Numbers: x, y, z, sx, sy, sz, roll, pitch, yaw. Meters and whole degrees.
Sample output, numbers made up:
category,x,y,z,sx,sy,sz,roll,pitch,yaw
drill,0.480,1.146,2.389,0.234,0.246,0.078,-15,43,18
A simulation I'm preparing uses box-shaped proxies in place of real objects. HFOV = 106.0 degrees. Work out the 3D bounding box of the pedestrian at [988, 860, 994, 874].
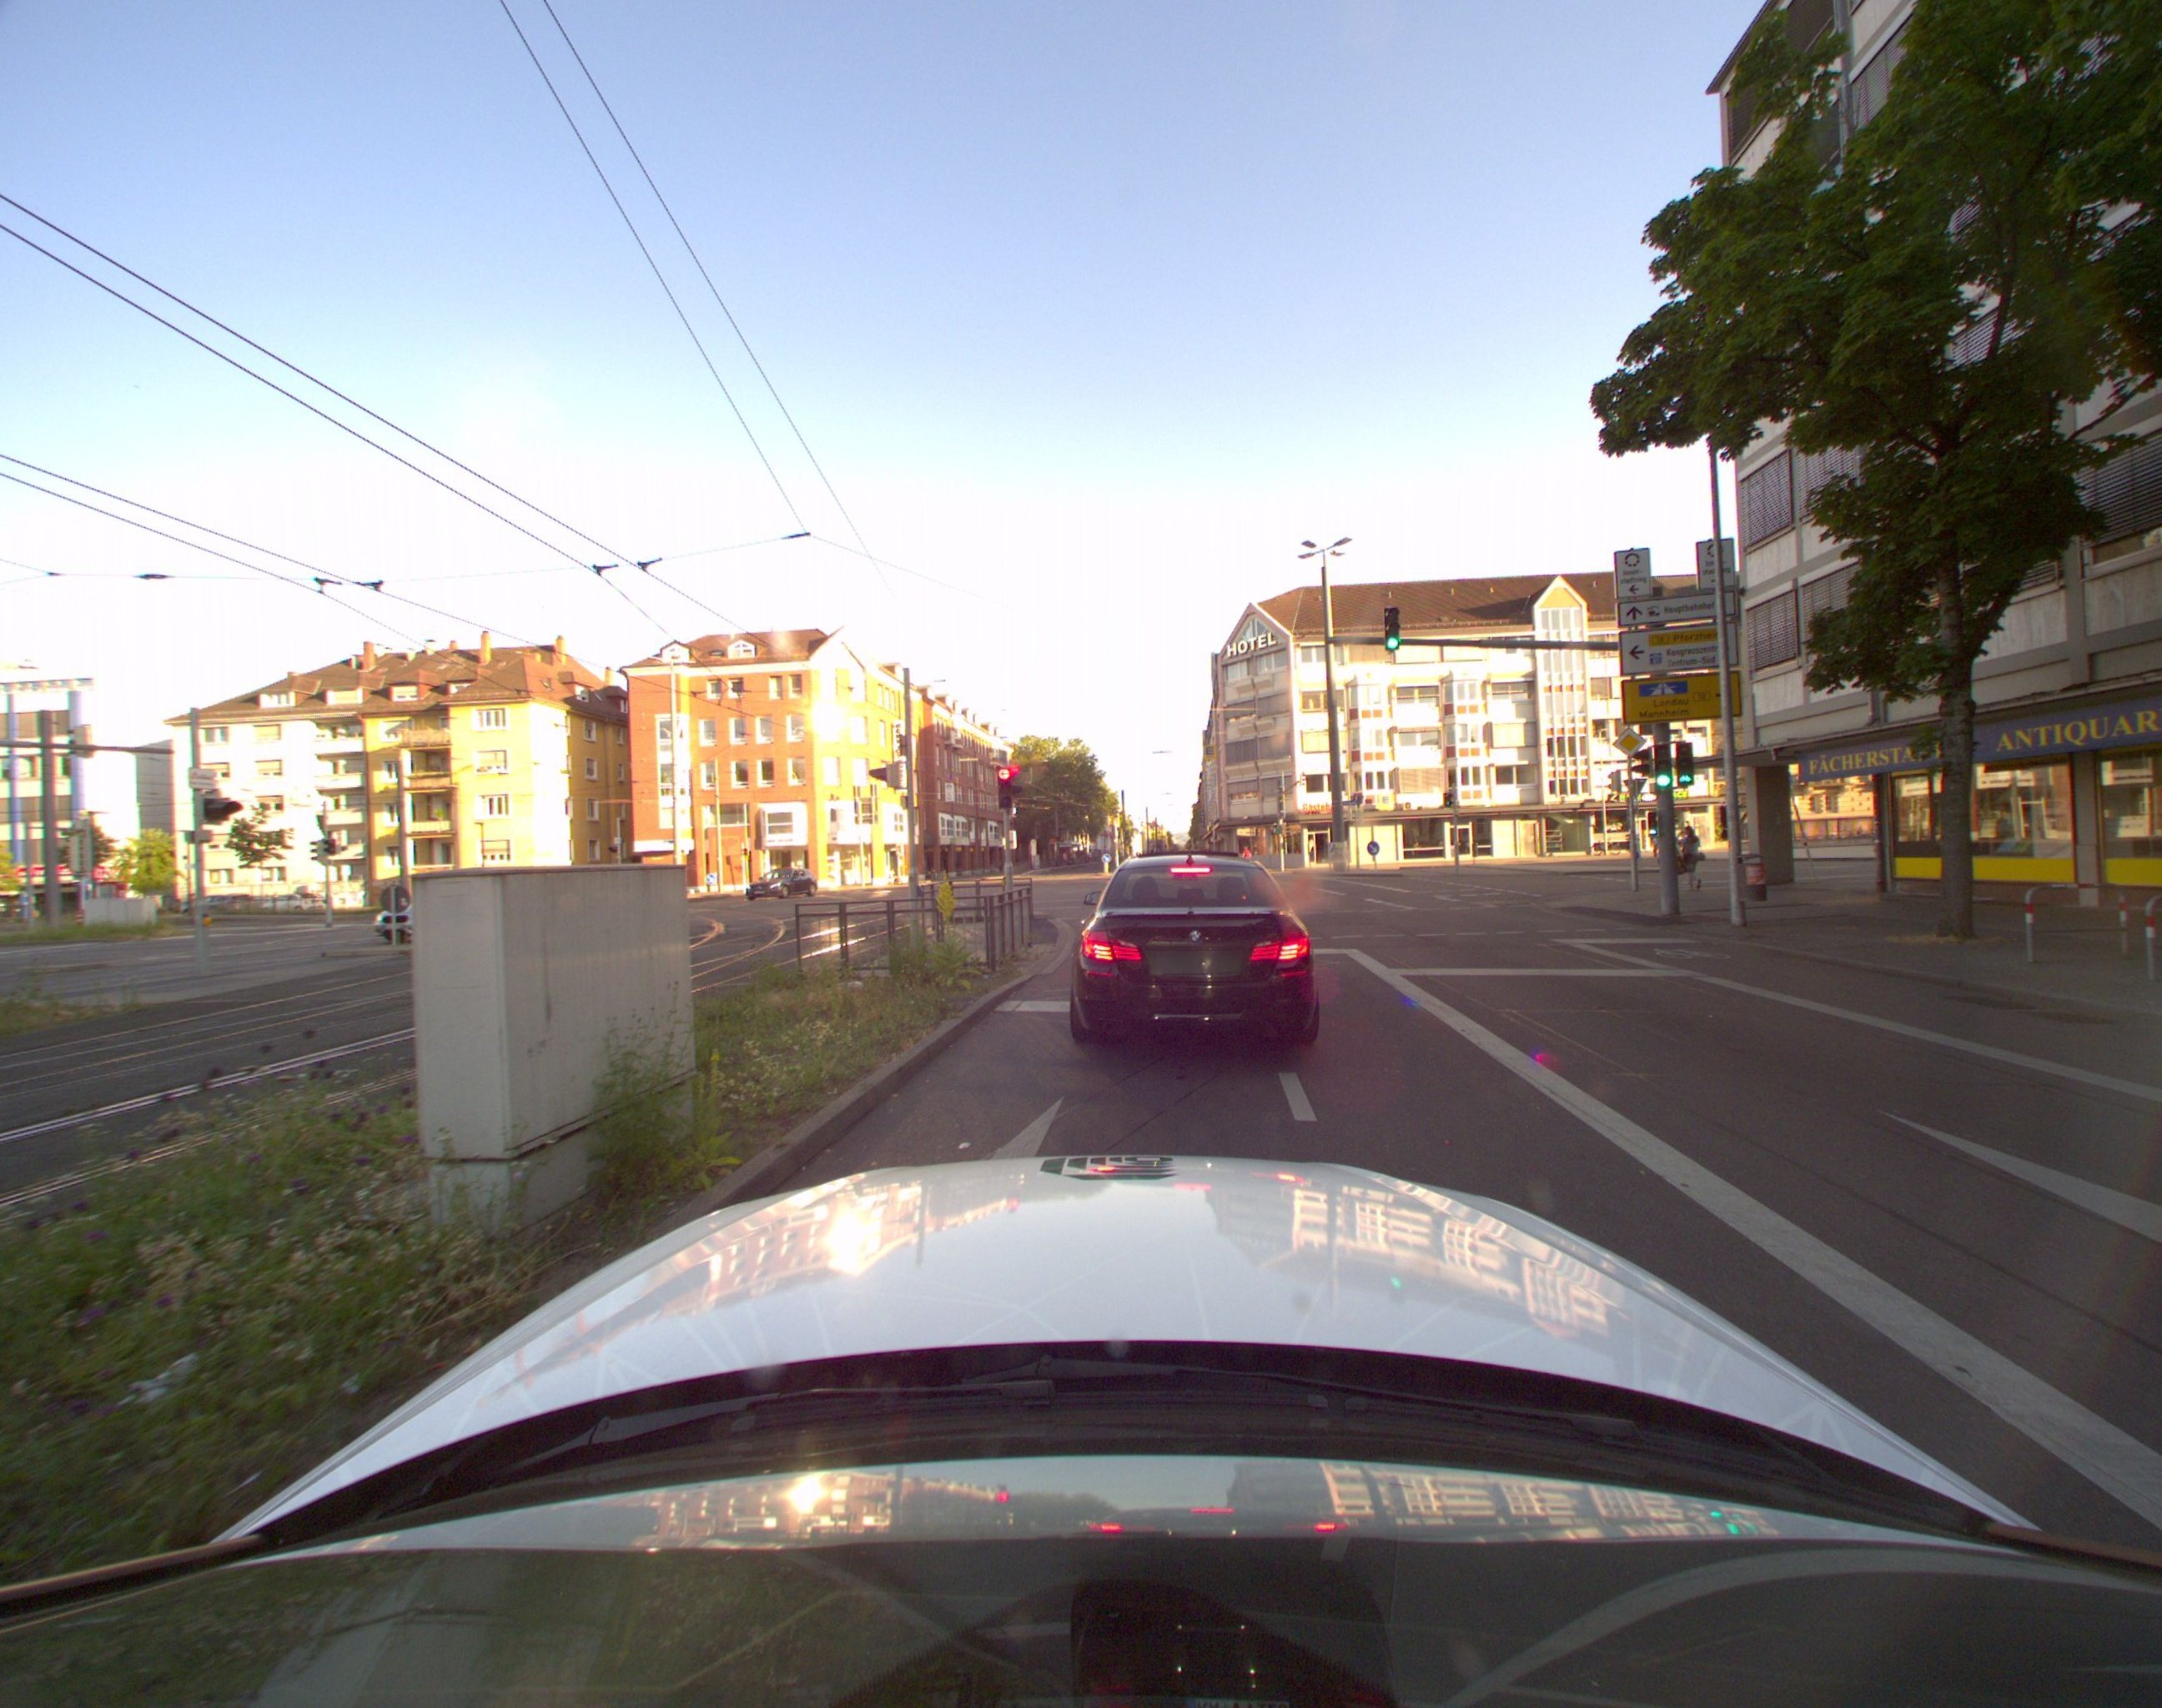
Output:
category,x,y,z,sx,sy,sz,roll,pitch,yaw
pedestrian,-10.661,1.563,96.248,0.483,1.681,0.657,-3,0,11

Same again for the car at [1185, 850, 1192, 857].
category,x,y,z,sx,sy,sz,roll,pitch,yaw
car,25.690,-0.124,194.682,1.465,1.515,3.101,-2,0,6

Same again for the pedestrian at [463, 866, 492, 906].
category,x,y,z,sx,sy,sz,roll,pitch,yaw
pedestrian,-29.366,1.535,39.628,0.828,1.868,0.949,-1,0,37

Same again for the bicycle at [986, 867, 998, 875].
category,x,y,z,sx,sy,sz,roll,pitch,yaw
bicycle,-10.638,2.060,97.473,1.411,0.922,0.402,-1,0,-6

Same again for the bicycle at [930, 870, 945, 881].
category,x,y,z,sx,sy,sz,roll,pitch,yaw
bicycle,-13.570,2.033,77.016,1.412,0.922,0.442,-1,0,-9

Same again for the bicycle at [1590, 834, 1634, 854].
category,x,y,z,sx,sy,sz,roll,pitch,yaw
bicycle,36.408,-0.654,55.885,2.395,1.265,0.823,-3,0,2

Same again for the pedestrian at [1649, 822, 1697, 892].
category,x,y,z,sx,sy,sz,roll,pitch,yaw
pedestrian,14.519,0.076,19.993,0.680,1.667,0.673,-2,0,10

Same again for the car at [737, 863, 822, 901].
category,x,y,z,sx,sy,sz,roll,pitch,yaw
car,-14.347,1.301,39.080,1.984,1.585,4.485,-3,0,5

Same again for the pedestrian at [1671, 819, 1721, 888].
category,x,y,z,sx,sy,sz,roll,pitch,yaw
pedestrian,15.331,-0.019,20.315,0.718,1.667,0.673,-2,0,10

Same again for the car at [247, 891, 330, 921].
category,x,y,z,sx,sy,sz,roll,pitch,yaw
car,-57.011,3.712,58.626,3.973,2.013,2.000,-1,0,1

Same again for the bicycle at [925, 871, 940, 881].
category,x,y,z,sx,sy,sz,roll,pitch,yaw
bicycle,-13.797,2.053,75.705,1.285,0.922,0.348,-1,0,-9

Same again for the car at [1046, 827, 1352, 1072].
category,x,y,z,sx,sy,sz,roll,pitch,yaw
car,0.891,0.610,7.327,1.985,1.585,4.004,0,0,4

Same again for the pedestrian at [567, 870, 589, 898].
category,x,y,z,sx,sy,sz,roll,pitch,yaw
pedestrian,-34.309,2.063,55.534,0.937,1.868,0.838,-1,0,-2

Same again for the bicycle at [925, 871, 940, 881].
category,x,y,z,sx,sy,sz,roll,pitch,yaw
bicycle,-13.683,2.052,75.033,1.280,0.922,0.350,-1,0,3

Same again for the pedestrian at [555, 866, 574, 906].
category,x,y,z,sx,sy,sz,roll,pitch,yaw
pedestrian,-24.465,1.493,38.564,0.500,1.868,0.563,-1,0,2

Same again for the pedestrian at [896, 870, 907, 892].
category,x,y,z,sx,sy,sz,roll,pitch,yaw
pedestrian,-15.149,2.287,68.797,0.625,1.868,0.683,-1,0,33

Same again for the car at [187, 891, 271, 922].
category,x,y,z,sx,sy,sz,roll,pitch,yaw
car,-61.371,3.778,58.706,3.973,2.013,2.000,-1,0,1

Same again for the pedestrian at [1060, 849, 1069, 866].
category,x,y,z,sx,sy,sz,roll,pitch,yaw
pedestrian,-1.976,0.443,96.180,0.983,2.013,0.727,-1,0,6

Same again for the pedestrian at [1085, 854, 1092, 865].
category,x,y,z,sx,sy,sz,roll,pitch,yaw
pedestrian,1.115,0.828,121.021,0.719,1.681,0.994,-3,0,9

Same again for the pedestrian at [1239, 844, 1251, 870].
category,x,y,z,sx,sy,sz,roll,pitch,yaw
pedestrian,11.738,0.198,58.192,0.681,1.854,0.672,-2,0,3

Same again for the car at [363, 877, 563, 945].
category,x,y,z,sx,sy,sz,roll,pitch,yaw
car,-16.346,1.439,21.864,1.659,1.448,4.213,-2,0,10

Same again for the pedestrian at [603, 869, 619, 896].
category,x,y,z,sx,sy,sz,roll,pitch,yaw
pedestrian,-33.856,2.037,58.635,0.806,1.868,0.660,-1,0,-15

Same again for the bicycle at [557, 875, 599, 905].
category,x,y,z,sx,sy,sz,roll,pitch,yaw
bicycle,-23.892,1.692,38.704,0.615,1.325,2.018,-1,0,4

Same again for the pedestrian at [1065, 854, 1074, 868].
category,x,y,z,sx,sy,sz,roll,pitch,yaw
pedestrian,-1.405,0.834,101.296,0.983,1.681,0.727,-3,0,6
